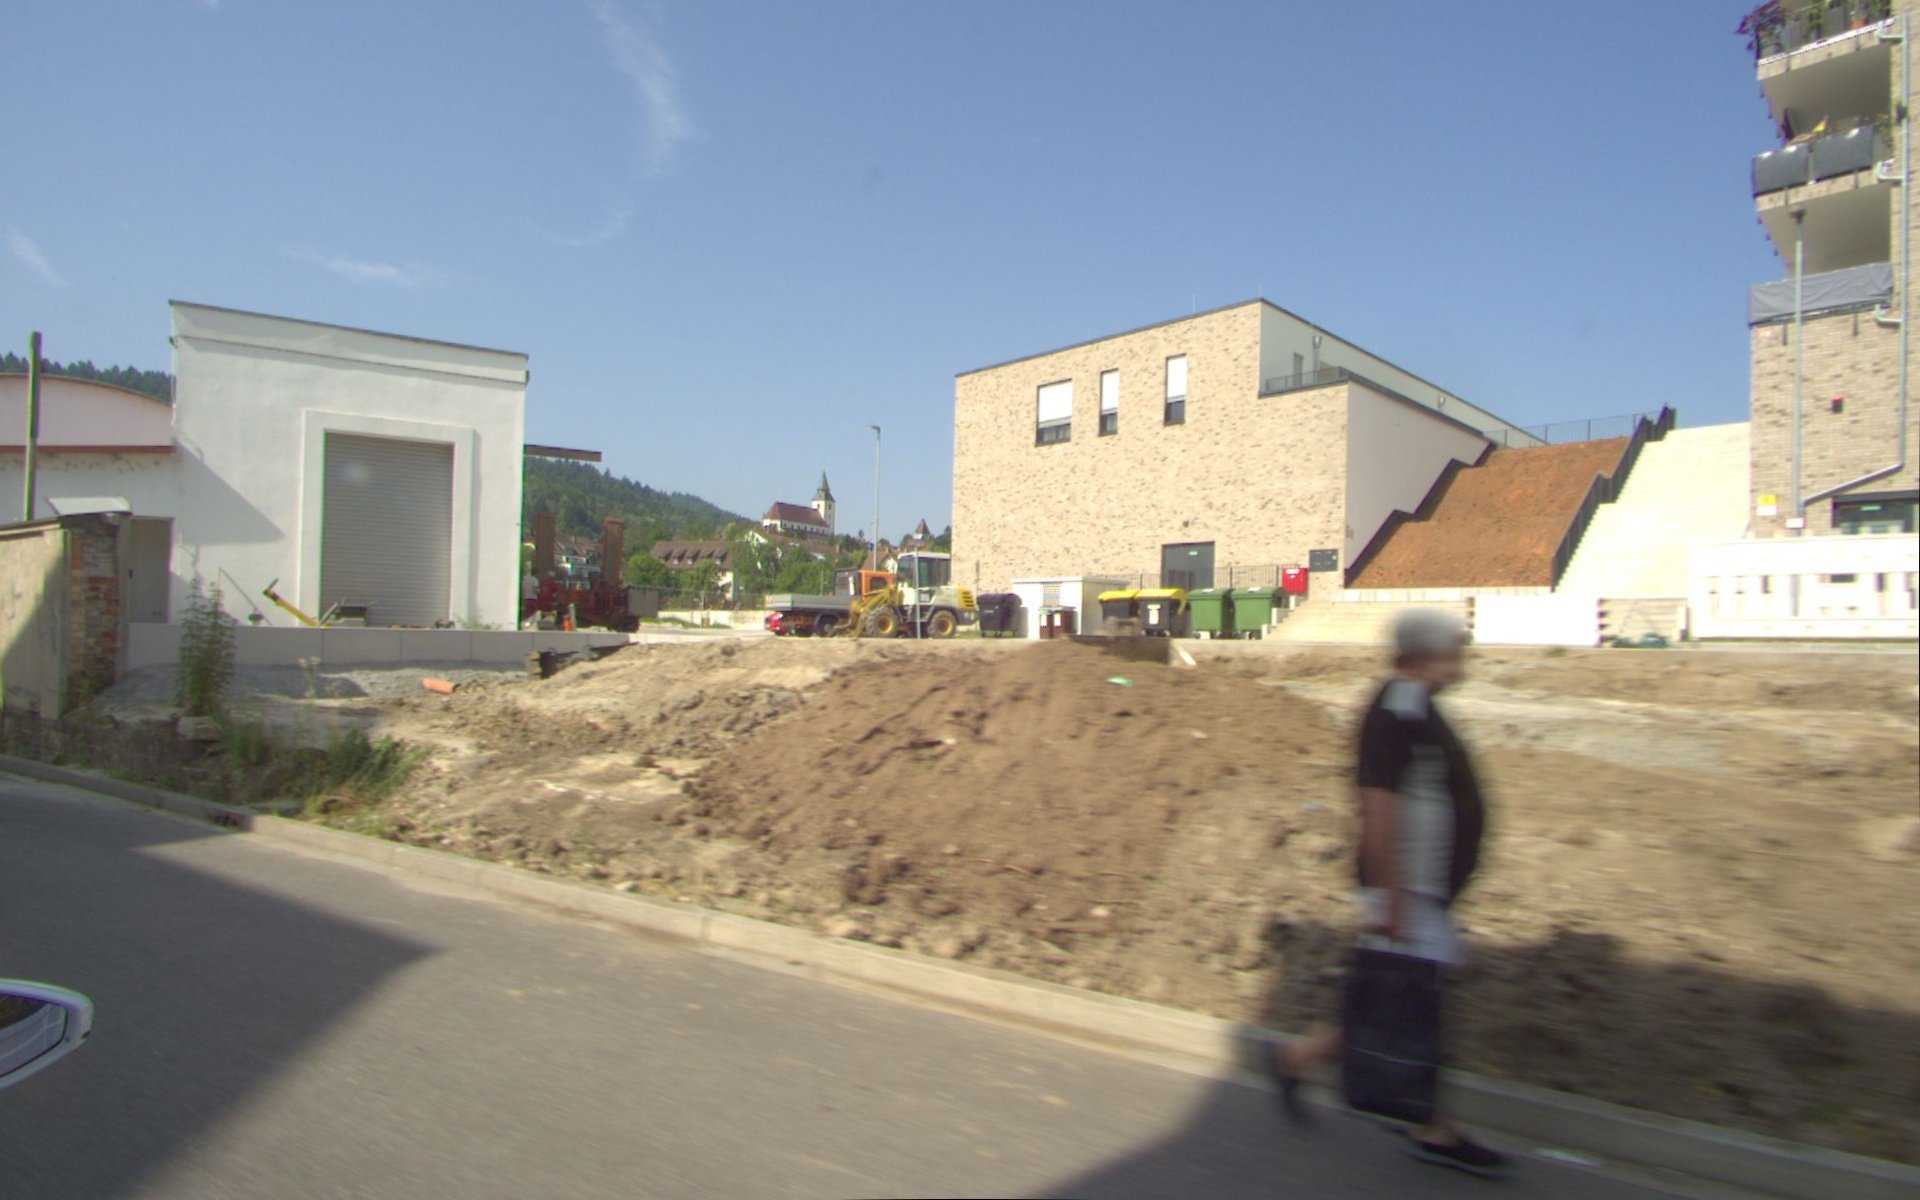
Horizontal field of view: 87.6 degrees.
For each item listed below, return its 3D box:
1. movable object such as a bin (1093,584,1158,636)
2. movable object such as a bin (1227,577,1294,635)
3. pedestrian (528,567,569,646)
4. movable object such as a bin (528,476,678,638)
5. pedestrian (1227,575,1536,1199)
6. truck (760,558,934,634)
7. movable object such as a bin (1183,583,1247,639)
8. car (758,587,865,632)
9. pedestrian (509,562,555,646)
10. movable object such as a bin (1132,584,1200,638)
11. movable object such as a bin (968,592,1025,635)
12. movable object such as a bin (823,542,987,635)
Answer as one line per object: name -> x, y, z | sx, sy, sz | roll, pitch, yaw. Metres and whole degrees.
movable object such as a bin -> 5.196, 0.332, 31.358 | 1.305, 1.482, 1.574 | 1, -4, 42
movable object such as a bin -> 8.404, 0.180, 27.976 | 1.305, 1.482, 1.294 | 1, -4, 42
pedestrian -> -10.373, 0.174, 25.256 | 0.623, 1.920, 0.608 | 4, -3, -1
movable object such as a bin -> -9.700, -0.920, 26.832 | 2.818, 3.665, 5.712 | 5, -4, -27
pedestrian -> 1.284, 0.829, 2.968 | 0.708, 1.703, 0.888 | 0, -4, 32
truck -> -3.672, -0.050, 32.900 | 5.260, 2.295, 2.206 | 1, -1, -32
movable object such as a bin -> 7.390, 0.328, 29.028 | 1.305, 1.482, 1.294 | 1, -4, 42
car -> -5.608, 0.397, 37.934 | 3.710, 1.536, 1.496 | 3, -3, -28
pedestrian -> -10.216, 0.100, 23.925 | 0.625, 1.920, 0.607 | 2, -3, 24
movable object such as a bin -> 6.249, 0.335, 30.322 | 1.305, 1.482, 1.686 | 1, -4, 42
movable object such as a bin -> 1.212, 0.447, 33.041 | 1.305, 1.283, 1.291 | 1, -4, 42
movable object such as a bin -> -1.610, -0.263, 30.045 | 4.565, 2.602, 1.914 | 1, -1, -33
